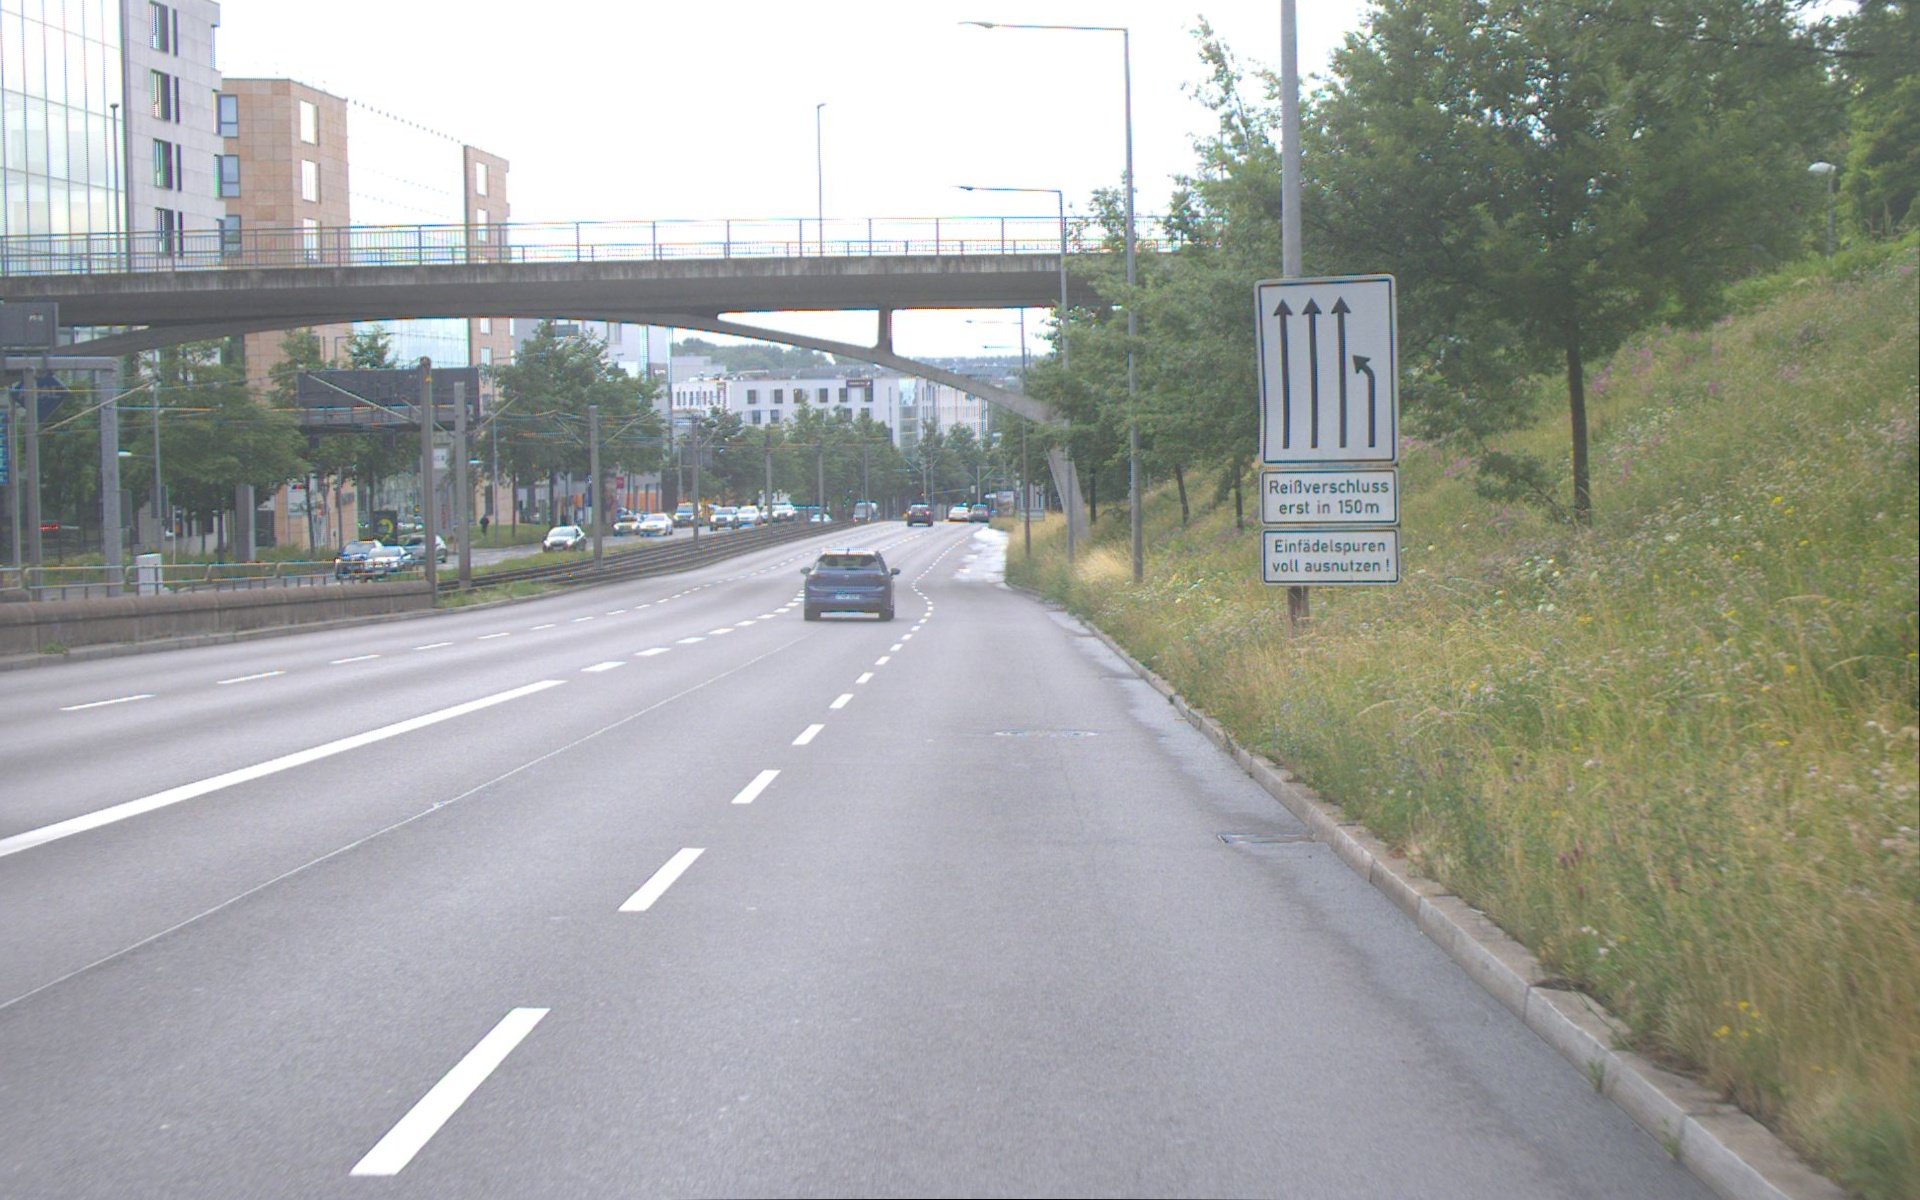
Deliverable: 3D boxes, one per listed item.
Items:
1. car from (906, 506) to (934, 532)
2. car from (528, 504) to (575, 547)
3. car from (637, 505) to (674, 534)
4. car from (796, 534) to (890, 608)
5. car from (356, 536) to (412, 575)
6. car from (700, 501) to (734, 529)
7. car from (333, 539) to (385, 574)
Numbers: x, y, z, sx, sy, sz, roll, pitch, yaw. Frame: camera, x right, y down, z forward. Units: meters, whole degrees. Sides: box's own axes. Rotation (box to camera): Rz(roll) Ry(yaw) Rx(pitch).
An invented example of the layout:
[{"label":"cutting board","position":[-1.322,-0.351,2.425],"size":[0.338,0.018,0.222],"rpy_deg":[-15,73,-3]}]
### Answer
[{"label":"car","position":[-2.986,-6.022,255.426],"size":[1.862,1.743,4.001],"rpy_deg":[1,4,-3]},{"label":"car","position":[-21.259,-3.900,179.030],"size":[1.993,2.006,4.001],"rpy_deg":[1,4,-1]},{"label":"car","position":[-20.729,-5.491,234.032],"size":[1.993,1.729,4.249],"rpy_deg":[1,4,2]},{"label":"car","position":[-2.348,-0.604,69.798],"size":[1.749,1.415,3.478],"rpy_deg":[-1,1,0]},{"label":"car","position":[-22.159,-1.718,132.395],"size":[1.517,1.415,3.478],"rpy_deg":[0,2,0]},{"label":"car","position":[-17.167,-6.006,242.966],"size":[1.993,2.007,4.000],"rpy_deg":[0,1,2]},{"label":"car","position":[-24.998,-1.822,143.071],"size":[1.517,1.415,3.478],"rpy_deg":[0,2,0]}]
